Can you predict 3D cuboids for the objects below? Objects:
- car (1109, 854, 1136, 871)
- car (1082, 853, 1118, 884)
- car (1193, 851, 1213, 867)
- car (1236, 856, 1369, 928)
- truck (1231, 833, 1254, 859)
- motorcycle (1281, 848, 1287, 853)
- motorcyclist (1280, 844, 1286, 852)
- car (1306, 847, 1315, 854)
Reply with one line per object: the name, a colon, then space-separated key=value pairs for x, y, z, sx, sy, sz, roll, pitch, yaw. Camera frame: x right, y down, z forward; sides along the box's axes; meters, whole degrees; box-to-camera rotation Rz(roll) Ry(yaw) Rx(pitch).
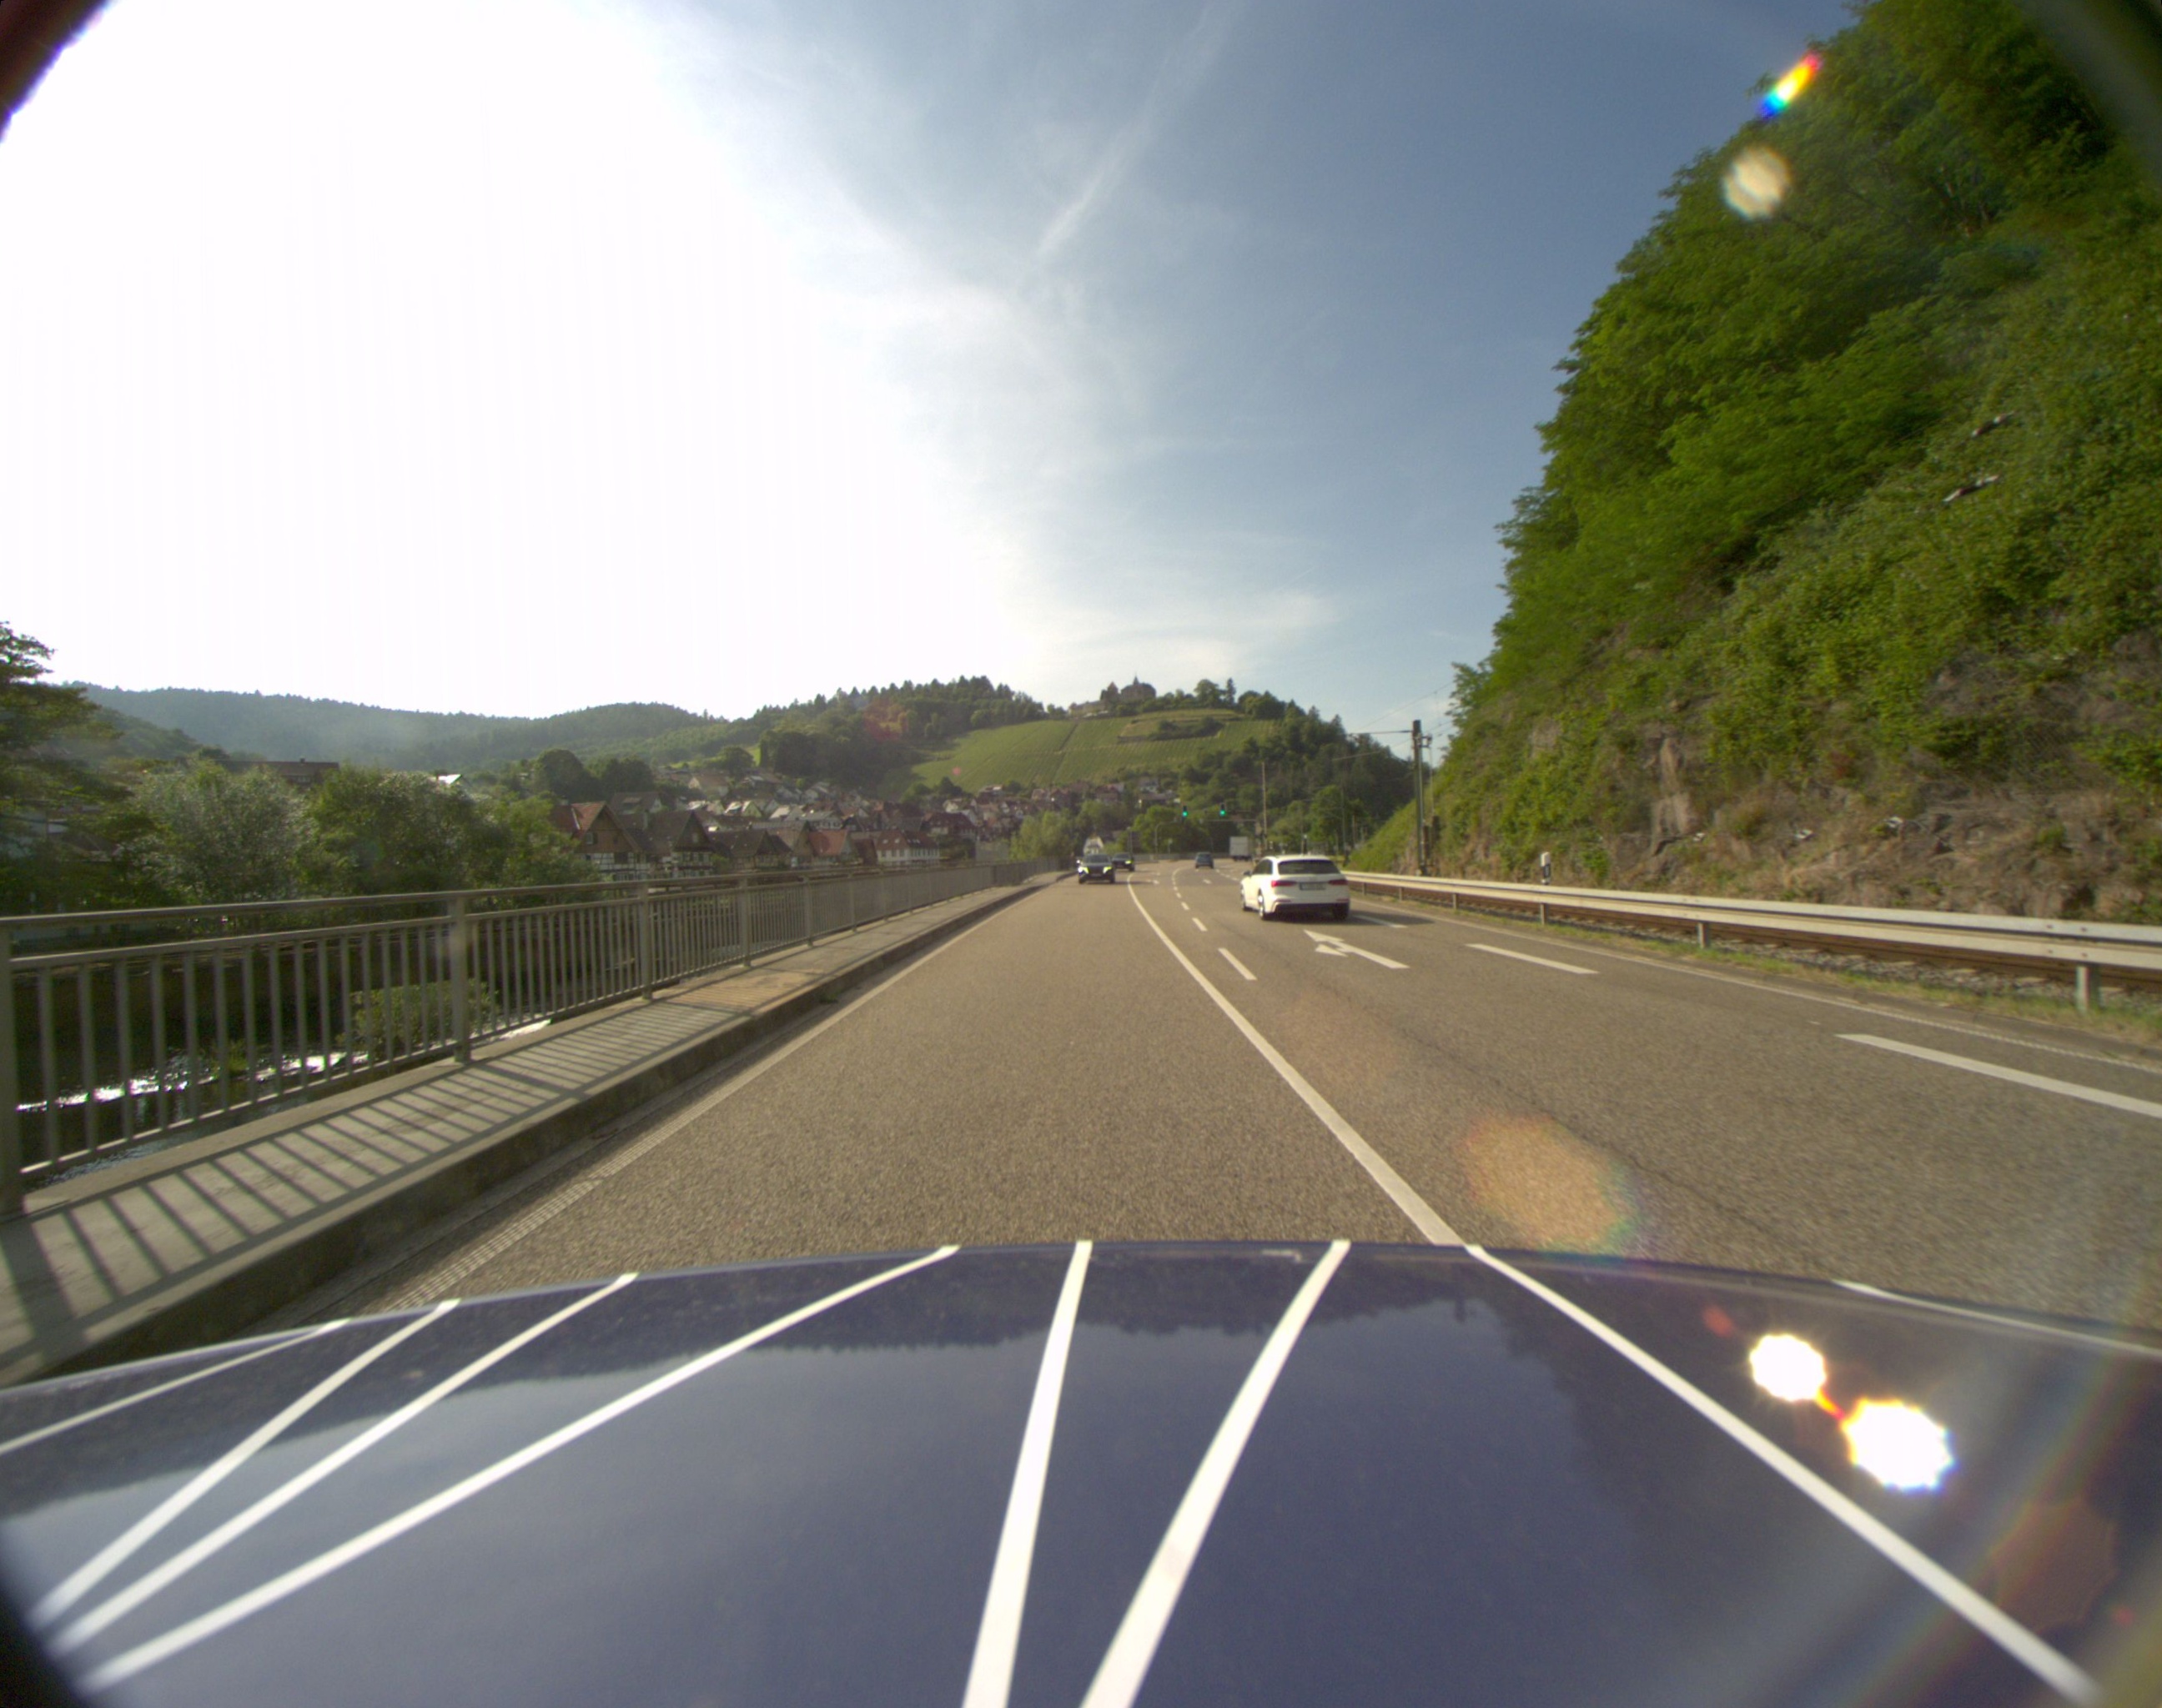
car: x=3.675 y=0.733 z=66.241 sx=1.997 sy=1.384 sz=4.002 roll=-1 pitch=0 yaw=7
car: x=1.060 y=0.721 z=40.930 sx=1.863 sy=1.576 sz=4.001 roll=-1 pitch=0 yaw=3
car: x=12.185 y=0.453 z=76.019 sx=1.722 sy=1.561 sz=4.137 roll=-1 pitch=0 yaw=6
car: x=5.045 y=0.794 z=18.033 sx=2.068 sy=1.431 sz=4.687 roll=-1 pitch=0 yaw=4
truck: x=25.117 y=-1.234 z=117.996 sx=2.901 sy=3.776 sz=8.905 roll=-1 pitch=0 yaw=16
motorcycle: x=41.461 y=-0.648 z=154.901 sx=0.825 sy=0.949 sz=2.221 roll=-1 pitch=0 yaw=24
motorcyclist: x=41.172 y=-1.195 z=154.985 sx=1.006 sy=1.705 sz=0.867 roll=-1 pitch=1 yaw=33
car: x=56.094 y=-0.810 z=185.341 sx=1.694 sy=1.647 sz=4.177 roll=-1 pitch=0 yaw=22
